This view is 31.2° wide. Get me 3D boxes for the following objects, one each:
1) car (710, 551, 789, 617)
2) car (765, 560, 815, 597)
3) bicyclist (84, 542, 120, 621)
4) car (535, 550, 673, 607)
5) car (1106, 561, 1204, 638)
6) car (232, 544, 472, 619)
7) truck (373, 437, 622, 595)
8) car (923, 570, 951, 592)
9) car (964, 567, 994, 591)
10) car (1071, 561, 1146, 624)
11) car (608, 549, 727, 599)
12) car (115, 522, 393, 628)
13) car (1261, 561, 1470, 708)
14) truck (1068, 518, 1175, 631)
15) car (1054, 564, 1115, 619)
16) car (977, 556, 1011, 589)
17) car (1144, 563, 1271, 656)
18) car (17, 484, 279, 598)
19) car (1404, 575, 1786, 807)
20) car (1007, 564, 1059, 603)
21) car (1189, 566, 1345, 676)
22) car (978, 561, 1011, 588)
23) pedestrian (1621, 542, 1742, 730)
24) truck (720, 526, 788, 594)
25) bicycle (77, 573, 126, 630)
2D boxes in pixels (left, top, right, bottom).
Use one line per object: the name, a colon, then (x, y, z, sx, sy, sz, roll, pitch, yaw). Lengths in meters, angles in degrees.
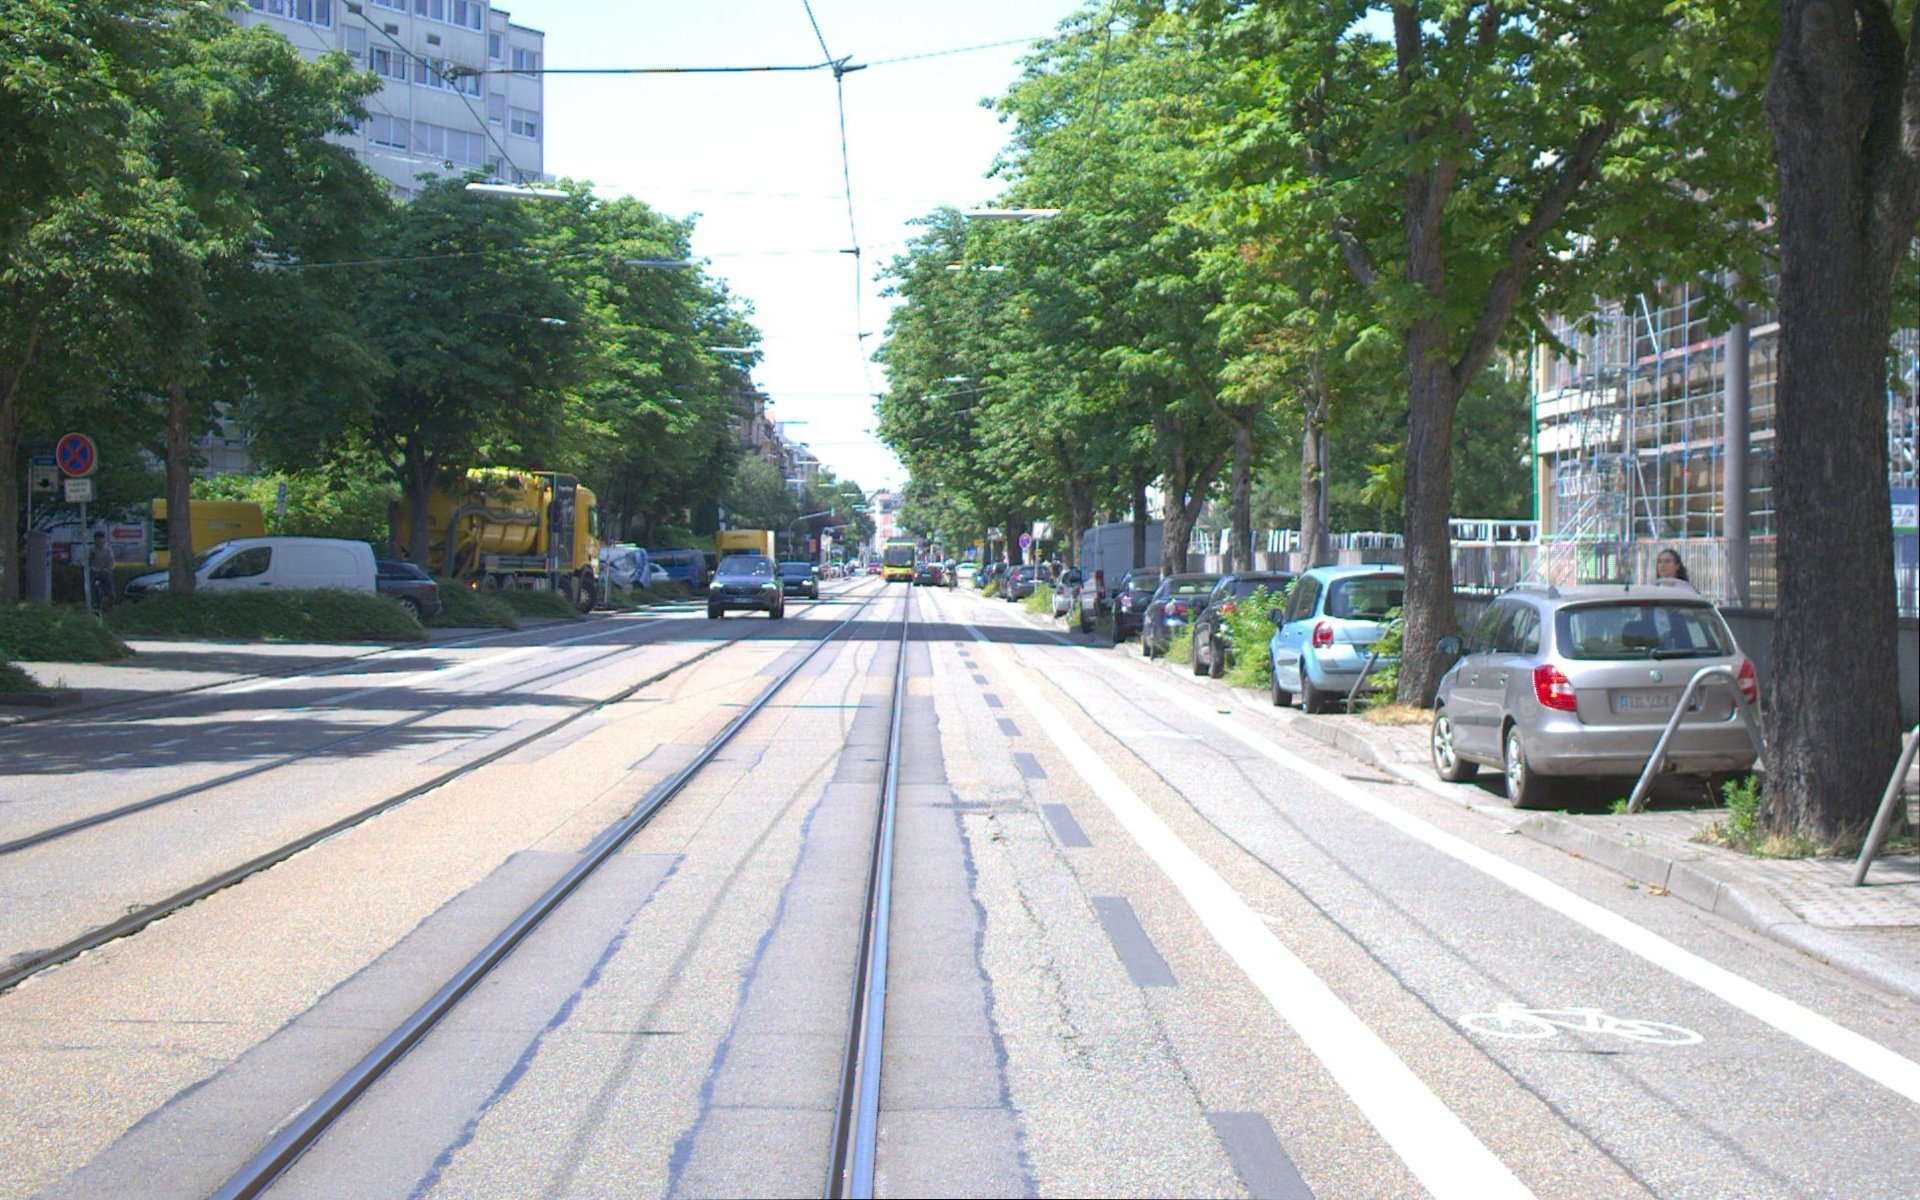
car: (-5.486, -0.431, 89.959, 1.831, 1.675, 4.185, 0, 1, -1)
car: (-6.608, -0.854, 133.973, 1.774, 1.392, 4.287, 0, 1, -1)
bicyclist: (-16.272, -0.350, 65.210, 0.480, 1.476, 0.781, 2, 1, -3)
car: (-12.573, -0.774, 121.609, 1.920, 1.928, 4.745, -1, 0, 42)
car: (3.852, -0.043, 68.453, 1.824, 1.466, 4.400, 0, 1, 2)
car: (-12.256, -0.368, 69.450, 4.434, 1.390, 1.772, 1, 1, -39)
truck: (-12.208, -2.135, 92.080, 2.717, 3.828, 10.957, 2, 0, 13)
car: (-1.471, -1.213, 218.764, 1.781, 1.341, 3.416, 0, 0, 0)
car: (1.170, -1.271, 210.644, 1.710, 1.418, 4.310, 0, 0, -1)
car: (3.715, -0.201, 86.659, 1.644, 1.529, 3.947, 0, 1, -1)
car: (-12.542, -1.137, 147.744, 4.748, 2.055, 2.026, -2, 1, -39)
car: (-12.817, -0.452, 62.530, 4.533, 1.785, 1.901, 1, 1, -33)
car: (4.389, 0.336, 37.744, 1.671, 1.512, 4.202, 0, 1, -2)
truck: (3.661, -0.607, 78.873, 2.014, 2.480, 5.956, 0, 1, -1)
car: (3.549, -0.271, 98.457, 1.644, 1.529, 3.785, 0, 1, 1)
car: (1.711, -1.396, 173.543, 1.592, 1.611, 3.908, 0, 0, -1)
car: (4.085, 0.127, 57.321, 1.824, 1.466, 4.486, 0, 1, 1)
car: (-19.708, -1.396, 83.821, 2.182, 2.557, 6.713, 1, -1, 29)
car: (4.452, 0.582, 24.756, 1.671, 1.494, 4.366, 0, 1, -4)
car: (2.788, -0.629, 132.360, 1.639, 1.480, 3.873, 0, 0, -4)
car: (4.168, 0.255, 47.161, 1.671, 1.433, 4.042, 0, 1, -2)
car: (1.912, -1.420, 192.687, 1.710, 1.418, 4.310, 0, 0, -1)
pedestrian: (6.235, 0.298, 29.748, 0.799, 1.583, 0.919, -1, 1, -2)
truck: (-8.841, -1.731, 148.144, 2.360, 2.843, 7.378, -1, 1, 1)
bicycle: (-16.289, 0.017, 65.269, 0.518, 1.043, 1.876, 2, 1, -3)
